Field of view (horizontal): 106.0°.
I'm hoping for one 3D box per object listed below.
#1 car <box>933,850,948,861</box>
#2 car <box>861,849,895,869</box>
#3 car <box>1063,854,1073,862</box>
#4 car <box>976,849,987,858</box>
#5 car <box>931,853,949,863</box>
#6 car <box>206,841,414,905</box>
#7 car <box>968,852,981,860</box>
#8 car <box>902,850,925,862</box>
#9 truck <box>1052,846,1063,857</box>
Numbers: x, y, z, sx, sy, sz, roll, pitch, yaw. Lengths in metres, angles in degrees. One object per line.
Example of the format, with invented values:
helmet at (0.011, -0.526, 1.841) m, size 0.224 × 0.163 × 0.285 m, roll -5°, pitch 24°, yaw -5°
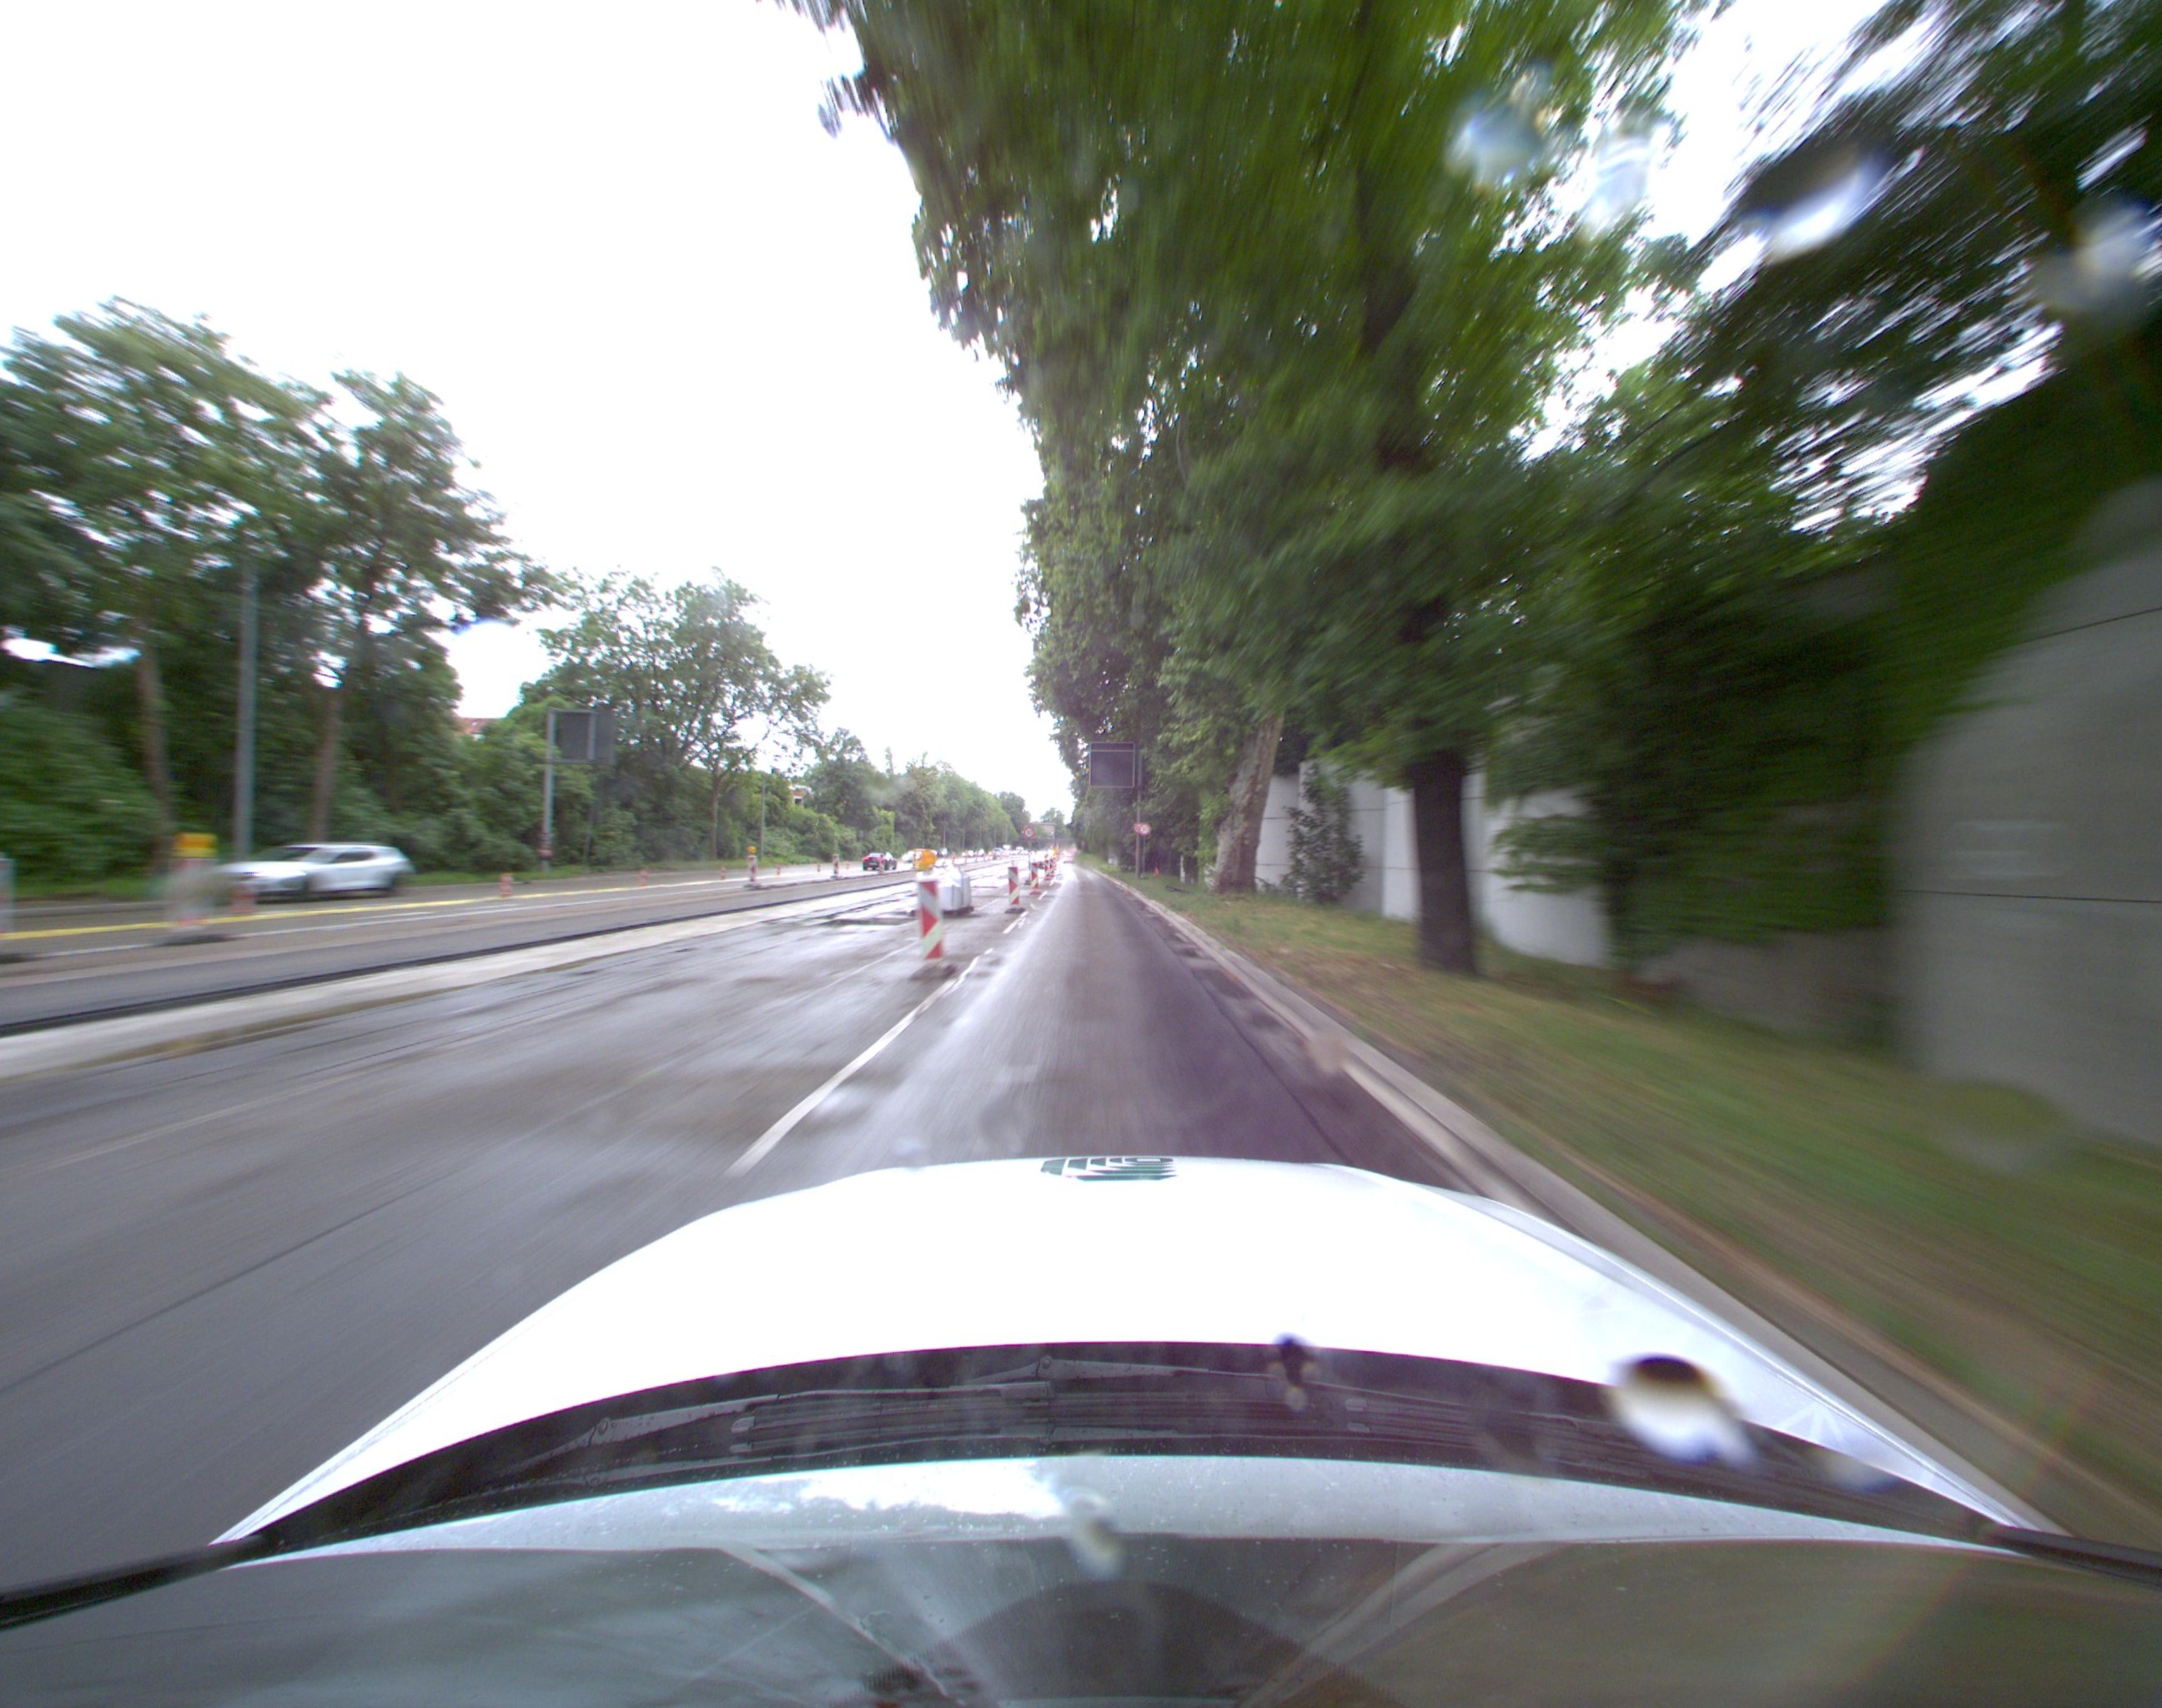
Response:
car at (-23.245, 0.261, 134.773) m, size 1.648 × 1.685 × 4.530 m, roll 2°, pitch 0°, yaw -1°
car at (-15.252, 0.358, 61.427) m, size 1.603 × 1.404 × 4.038 m, roll 1°, pitch 0°, yaw -2°
car at (-2.184, 0.658, 134.957) m, size 1.693 × 1.336 × 3.489 m, roll -1°, pitch 0°, yaw -1°
car at (-20.708, -0.114, 169.579) m, size 1.730 × 1.722 × 4.490 m, roll 1°, pitch 0°, yaw -2°
car at (-18.844, 0.545, 109.046) m, size 1.813 × 1.355 × 4.202 m, roll 0°, pitch 0°, yaw -1°
car at (-20.790, 0.468, 22.240) m, size 1.661 × 1.541 × 4.158 m, roll -2°, pitch 0°, yaw 0°
car at (-19.602, 0.329, 150.064) m, size 1.756 × 1.483 × 4.896 m, roll 1°, pitch 0°, yaw -2°
car at (-18.979, 0.186, 92.471) m, size 1.813 × 1.355 × 4.387 m, roll 0°, pitch 0°, yaw -1°
truck at (-7.535, -0.882, 261.445) m, size 3.250 × 3.497 × 13.862 m, roll 1°, pitch 0°, yaw -1°
